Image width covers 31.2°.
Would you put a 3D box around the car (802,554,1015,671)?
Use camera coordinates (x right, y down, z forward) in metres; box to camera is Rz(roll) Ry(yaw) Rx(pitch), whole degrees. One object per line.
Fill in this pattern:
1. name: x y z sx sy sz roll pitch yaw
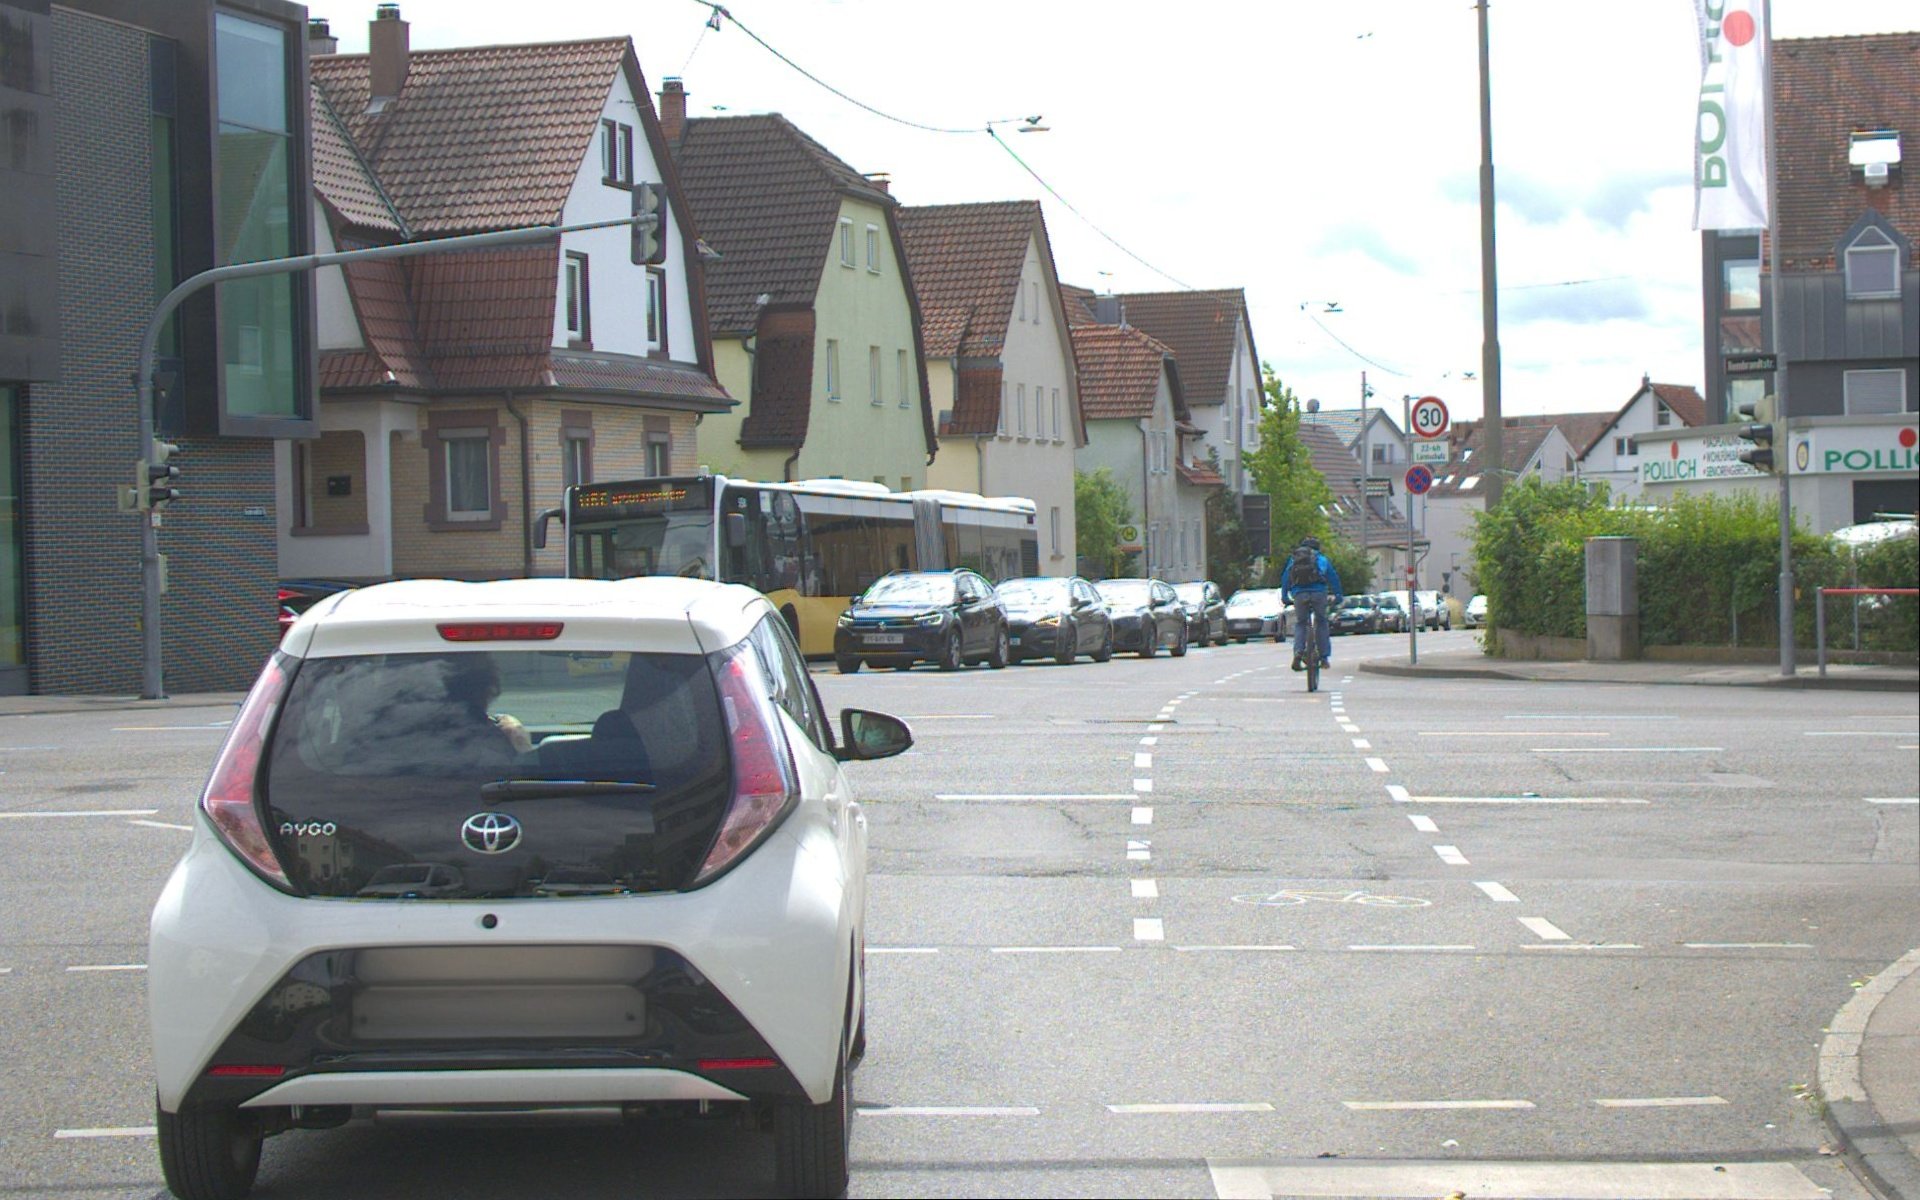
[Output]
1. car: -0.713 0.149 50.486 1.995 1.634 3.997 0 1 17

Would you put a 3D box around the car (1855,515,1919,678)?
1. car: 13.265 -0.047 42.096 3.986 1.941 2.000 0 0 -9

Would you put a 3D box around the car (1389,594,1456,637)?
1. car: 18.365 0.609 136.283 1.995 1.634 3.997 0 1 17

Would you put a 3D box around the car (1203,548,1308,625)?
1. car: 7.947 -0.392 92.190 1.995 2.007 3.997 0 1 17

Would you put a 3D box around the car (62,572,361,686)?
1. car: -11.427 0.416 52.606 3.989 1.634 1.999 1 1 13

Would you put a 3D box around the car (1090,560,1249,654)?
1. car: 3.840 0.102 62.410 1.995 1.634 3.997 0 1 17

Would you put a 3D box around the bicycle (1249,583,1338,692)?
1. bicycle: 3.763 0.407 38.935 0.832 1.160 2.192 0 1 1

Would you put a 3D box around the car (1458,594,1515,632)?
1. car: 24.107 0.583 157.380 1.995 1.634 3.997 0 1 17

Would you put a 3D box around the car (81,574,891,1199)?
1. car: -1.076 0.669 9.320 1.738 1.455 3.532 0 1 -1

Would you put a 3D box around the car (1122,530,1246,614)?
1. car: 5.503 -0.695 83.967 1.995 2.007 3.996 0 1 20

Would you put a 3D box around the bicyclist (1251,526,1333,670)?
1. bicyclist: 3.761 -0.030 38.955 0.840 1.609 1.083 0 1 2

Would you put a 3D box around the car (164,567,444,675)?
1. car: -10.585 0.313 55.575 3.989 1.678 1.999 0 1 13

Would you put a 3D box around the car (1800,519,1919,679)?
1. car: 13.159 -0.028 44.477 3.986 2.007 2.001 0 1 -8

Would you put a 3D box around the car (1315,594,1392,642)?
1. car: 13.968 0.620 121.804 1.995 1.634 3.997 0 1 17

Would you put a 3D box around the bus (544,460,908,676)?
1. bus: -3.406 -0.526 53.274 2.780 3.050 9.185 0 1 15

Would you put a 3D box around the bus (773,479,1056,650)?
1. bus: -0.667 -0.680 63.185 2.780 2.904 9.185 0 1 15

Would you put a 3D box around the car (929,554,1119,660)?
1. car: 1.079 0.082 55.621 1.995 1.634 4.180 0 1 17
